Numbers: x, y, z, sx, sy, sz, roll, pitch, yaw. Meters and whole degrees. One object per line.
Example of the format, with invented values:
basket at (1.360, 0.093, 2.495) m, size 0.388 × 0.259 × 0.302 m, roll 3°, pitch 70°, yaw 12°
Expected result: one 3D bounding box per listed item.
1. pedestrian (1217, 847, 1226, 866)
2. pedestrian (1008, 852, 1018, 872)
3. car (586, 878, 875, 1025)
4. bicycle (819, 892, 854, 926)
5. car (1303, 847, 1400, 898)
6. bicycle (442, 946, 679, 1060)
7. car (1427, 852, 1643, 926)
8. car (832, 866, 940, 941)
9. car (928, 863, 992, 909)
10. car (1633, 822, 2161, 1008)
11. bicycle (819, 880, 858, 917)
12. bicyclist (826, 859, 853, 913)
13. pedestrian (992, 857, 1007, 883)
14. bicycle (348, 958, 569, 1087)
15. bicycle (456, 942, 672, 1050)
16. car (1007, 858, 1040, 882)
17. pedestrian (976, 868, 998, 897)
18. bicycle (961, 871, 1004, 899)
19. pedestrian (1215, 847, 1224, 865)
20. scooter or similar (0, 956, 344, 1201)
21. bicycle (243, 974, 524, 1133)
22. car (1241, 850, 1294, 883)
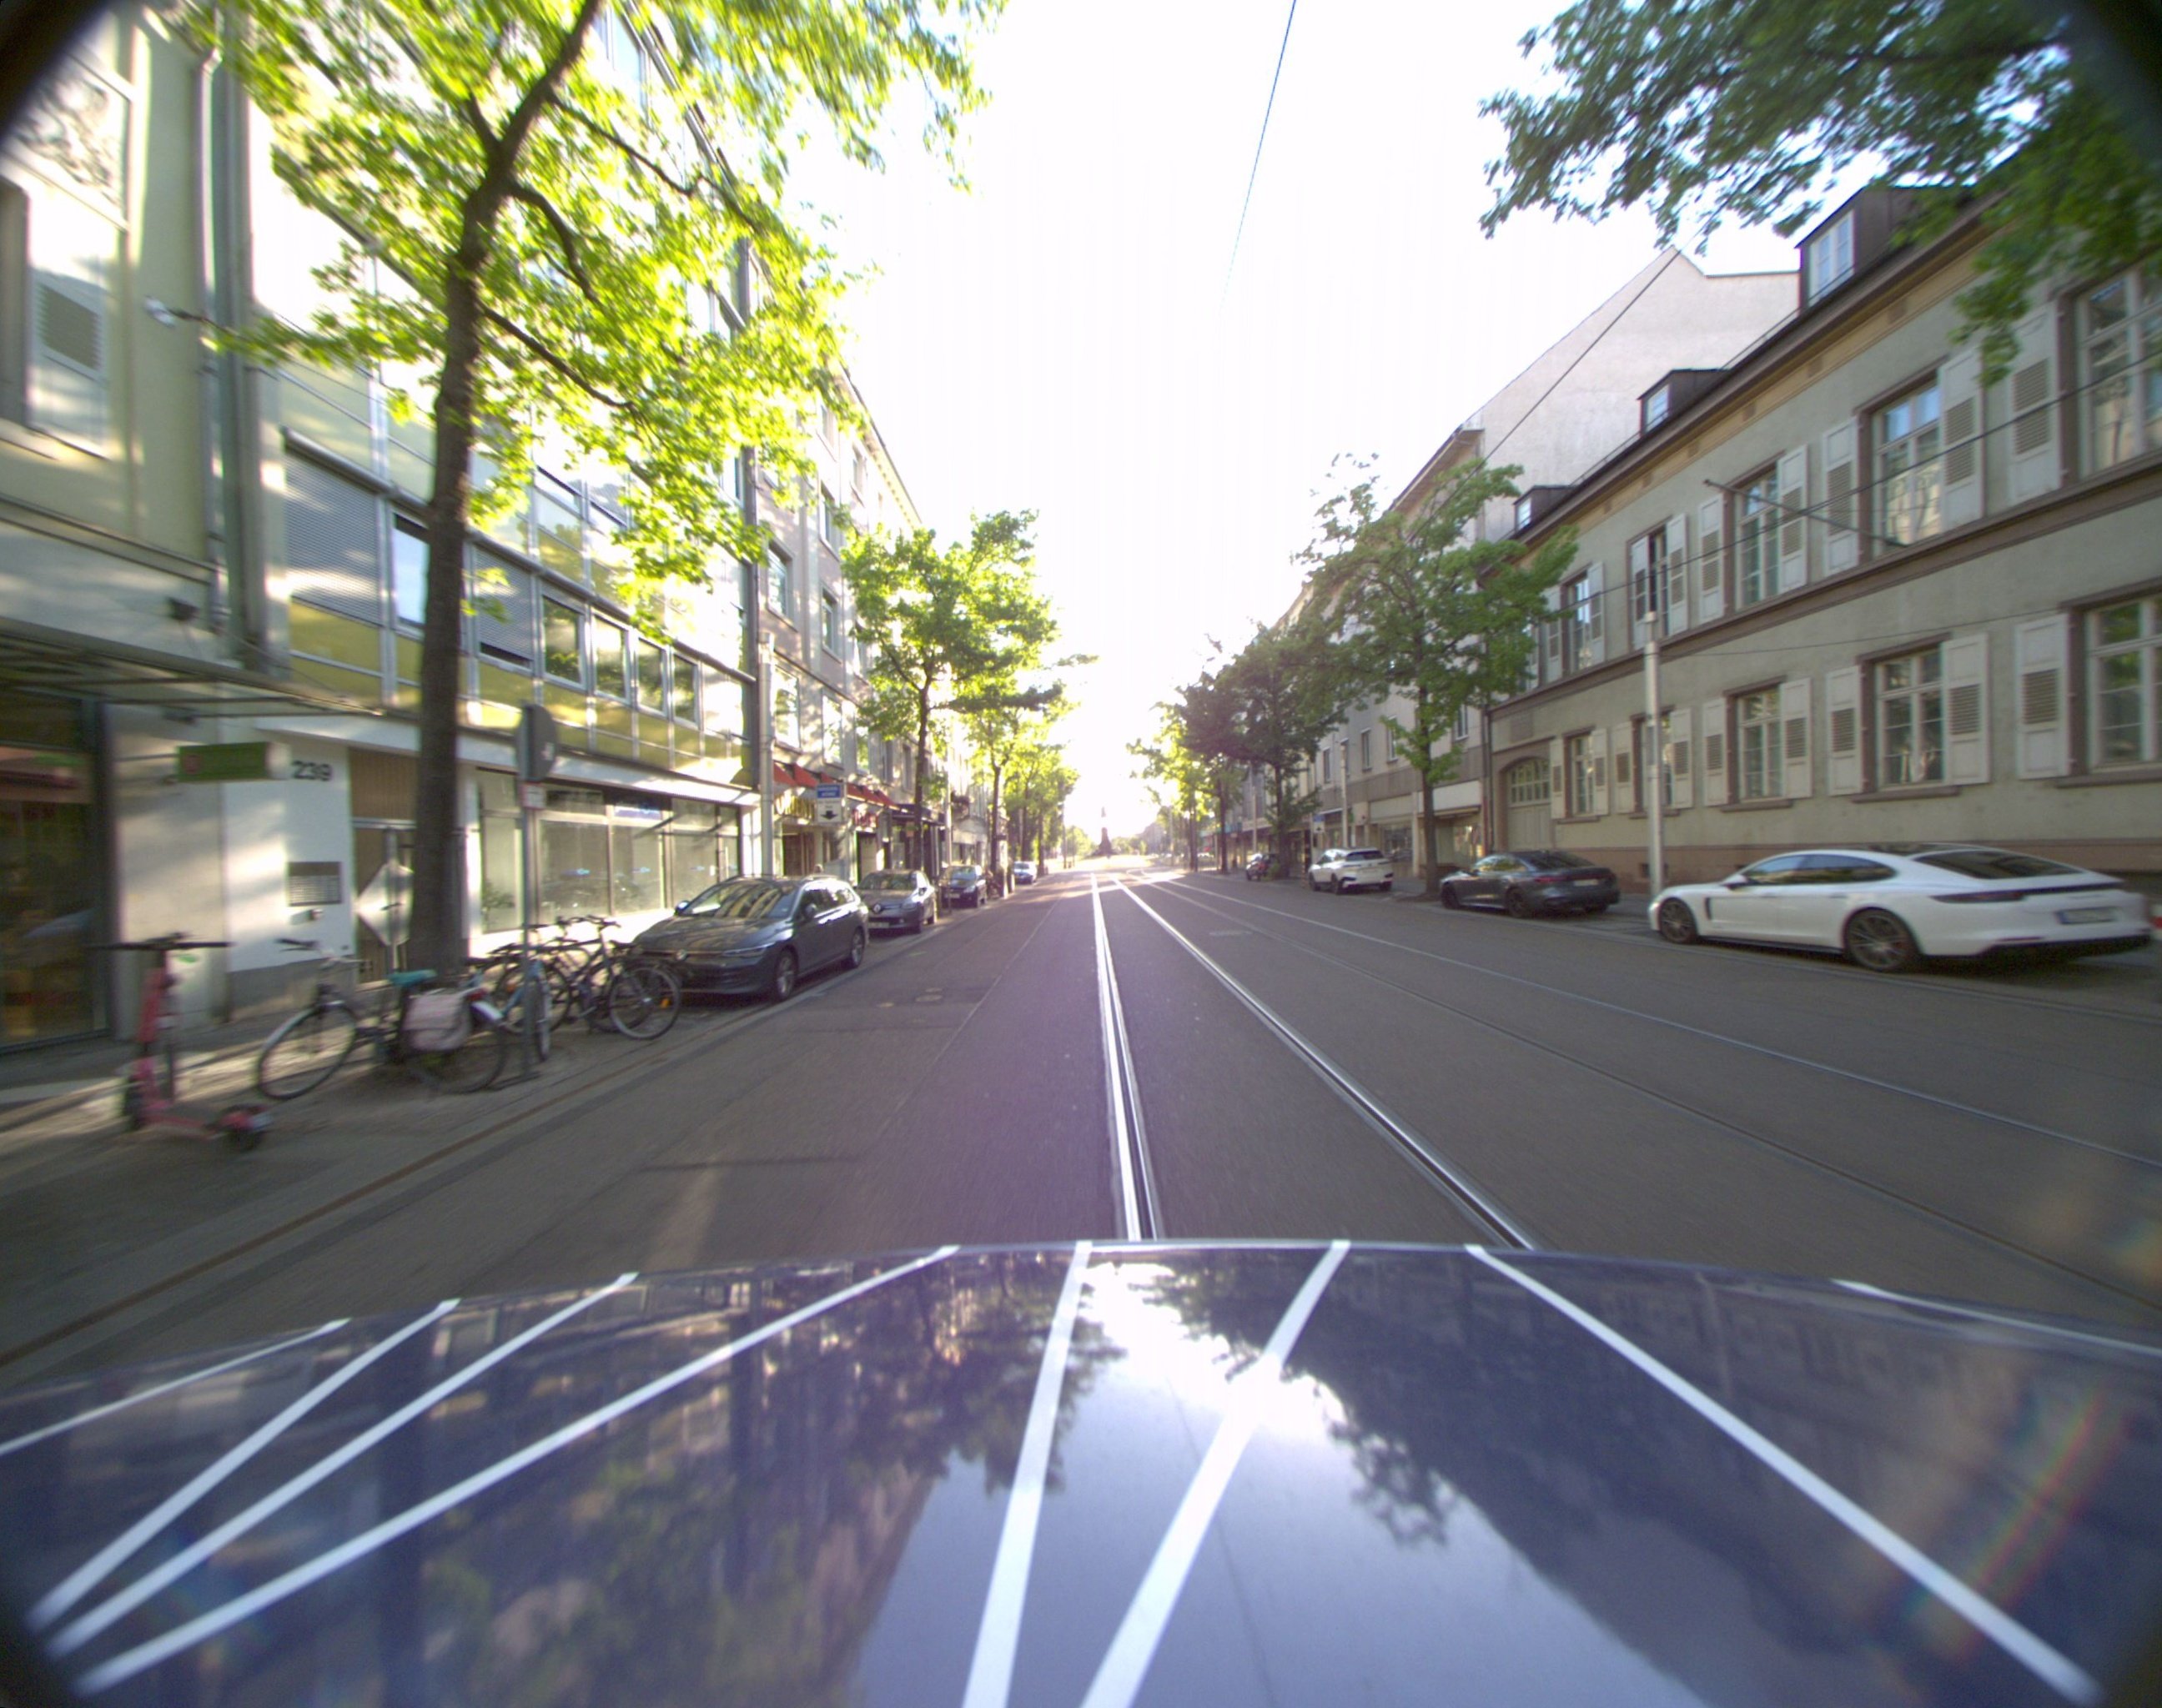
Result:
pedestrian at (15.481, 0.286, 83.738) m, size 0.798 × 2.002 × 0.734 m, roll -2°, pitch 1°, yaw 2°
pedestrian at (-7.047, 0.842, 78.770) m, size 0.847 × 2.002 × 0.842 m, roll -2°, pitch 1°, yaw -16°
car at (-4.390, 1.127, 10.337) m, size 1.875 × 1.444 × 4.107 m, roll 1°, pitch 0°, yaw 3°
bicycle at (-6.730, 1.496, 20.993) m, size 0.467 × 0.802 × 1.607 m, roll -1°, pitch 0°, yaw -1°
car at (10.180, 0.632, 29.026) m, size 1.966 × 1.630 × 4.812 m, roll -5°, pitch 0°, yaw 1°
bicycle at (-4.702, 1.343, 6.867) m, size 2.041 × 0.959 × 0.282 m, roll -2°, pitch 1°, yaw 6°
car at (10.171, 0.693, 17.602) m, size 1.967 × 1.404 × 4.845 m, roll -2°, pitch 0°, yaw -2°
car at (-4.591, 1.108, 18.441) m, size 1.820 × 1.477 × 3.998 m, roll 2°, pitch 0°, yaw -4°
car at (-4.295, 1.102, 27.503) m, size 1.805 × 1.450 × 3.654 m, roll 1°, pitch 0°, yaw -2°
car at (9.873, 0.566, 9.757) m, size 1.951 × 1.630 × 4.909 m, roll -5°, pitch 0°, yaw 1°
bicycle at (-7.555, 1.368, 23.756) m, size 0.649 × 1.068 × 1.861 m, roll -1°, pitch 0°, yaw -1°
bicyclist at (-7.571, 0.994, 23.843) m, size 0.640 × 1.674 × 0.599 m, roll -1°, pitch 1°, yaw -1°
pedestrian at (-5.270, 1.026, 49.215) m, size 0.805 × 1.633 × 0.756 m, roll -1°, pitch 0°, yaw 1°
bicycle at (-5.232, 1.400, 6.413) m, size 1.541 × 0.959 × 0.496 m, roll -2°, pitch 1°, yaw 8°
bicycle at (-4.910, 1.347, 7.232) m, size 1.900 × 0.959 × 0.332 m, roll -2°, pitch 1°, yaw 6°
car at (-3.865, 1.056, 51.991) m, size 1.780 × 1.432 × 4.422 m, roll 1°, pitch 1°, yaw 1°
pedestrian at (-4.147, 1.255, 33.686) m, size 0.819 × 1.258 × 0.586 m, roll -2°, pitch 1°, yaw 6°
bicycle at (-4.151, 1.295, 31.894) m, size 1.728 × 1.132 × 0.547 m, roll 0°, pitch 1°, yaw 21°
pedestrian at (15.593, 0.258, 85.736) m, size 0.798 × 2.002 × 0.734 m, roll -2°, pitch 1°, yaw 2°
scooter or similar at (-5.313, 1.236, 4.364) m, size 1.541 × 1.189 × 0.675 m, roll -2°, pitch 1°, yaw 5°
bicycle at (-4.803, 1.364, 5.270) m, size 1.541 × 0.959 × 0.496 m, roll -2°, pitch 1°, yaw 5°
car at (10.625, 0.675, 43.600) m, size 1.967 × 1.630 × 4.000 m, roll -4°, pitch 0°, yaw 1°
